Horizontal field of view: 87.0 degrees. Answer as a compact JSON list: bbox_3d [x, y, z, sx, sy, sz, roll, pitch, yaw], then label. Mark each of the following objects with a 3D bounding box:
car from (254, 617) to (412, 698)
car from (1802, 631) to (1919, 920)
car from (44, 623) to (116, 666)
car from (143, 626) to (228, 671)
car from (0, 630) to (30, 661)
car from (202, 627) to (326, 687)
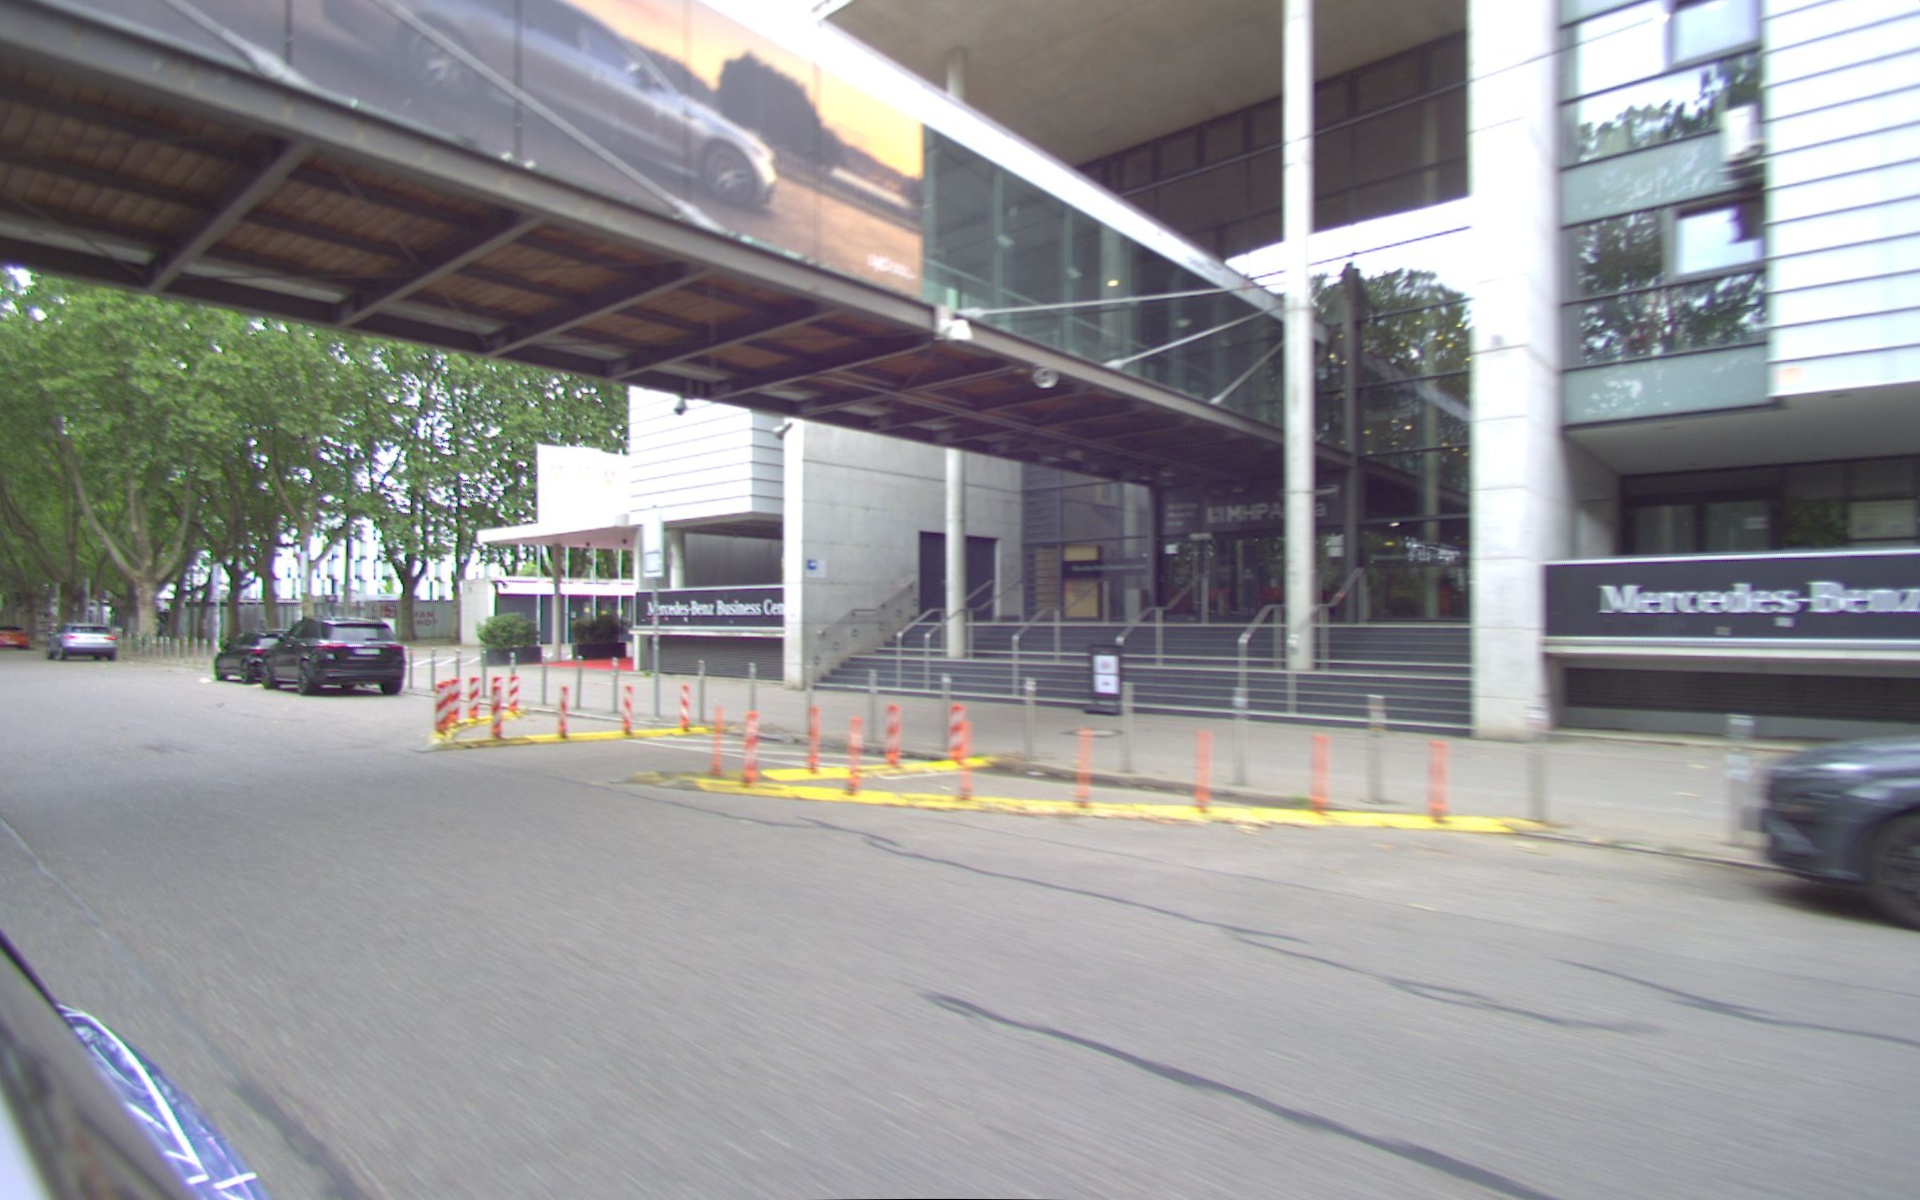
[{"bbox_3d":[-14.796,1.322,23.811,4.231,1.744,1.904,-1,-5,41],"label":"car"},{"bbox_3d":[6.832,0.982,5.056,4.007,1.525,1.735,-1,-5,41],"label":"car"},{"bbox_3d":[-36.835,1.817,42.329,3.998,1.674,1.735,-1,0,41],"label":"car"},{"bbox_3d":[-28.260,1.757,36.906,3.801,1.480,1.640,-1,-5,41],"label":"car"},{"bbox_3d":[-55.033,2.590,58.282,3.998,1.674,1.735,-1,0,41],"label":"car"},{"bbox_3d":[-19.213,1.545,27.865,4.142,1.480,1.758,-1,-5,41],"label":"car"}]
